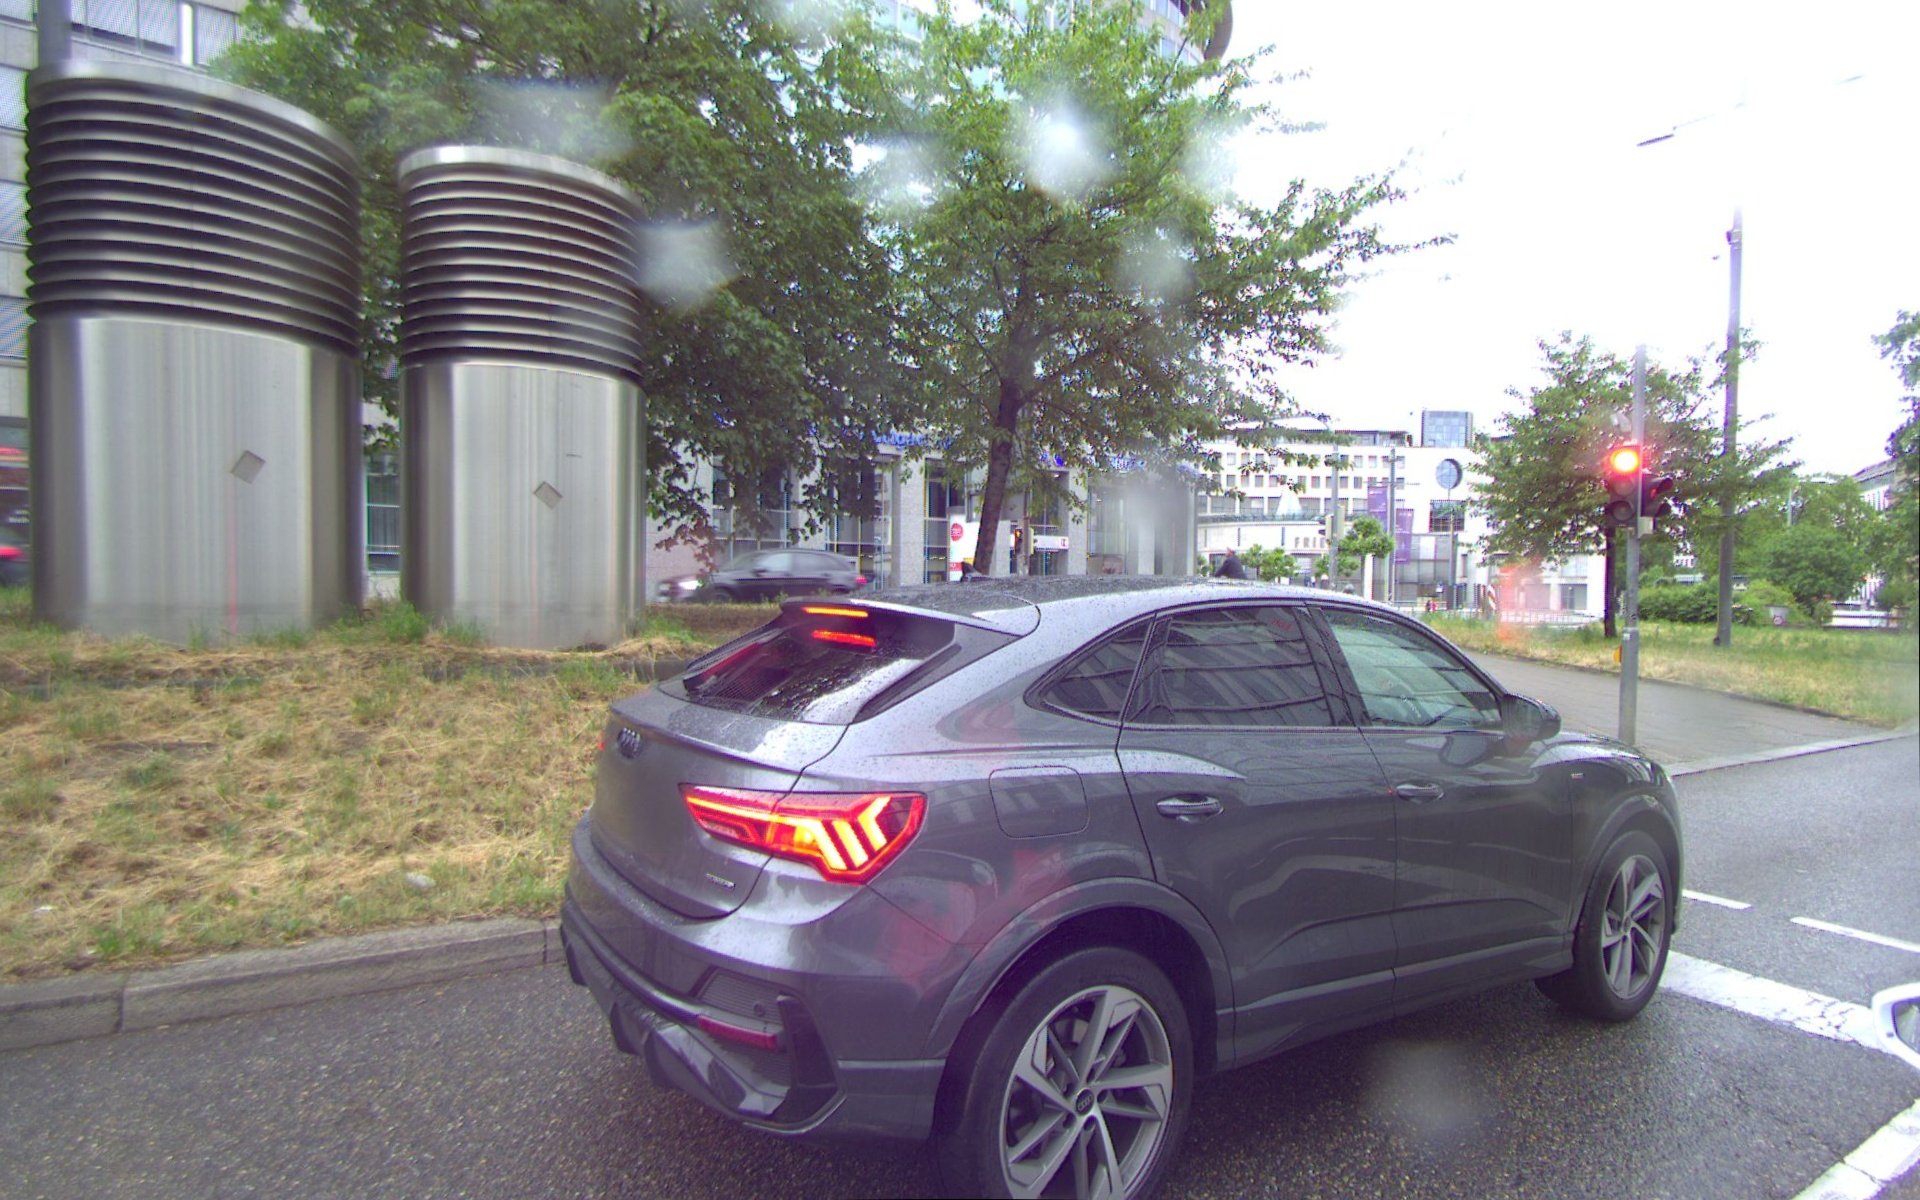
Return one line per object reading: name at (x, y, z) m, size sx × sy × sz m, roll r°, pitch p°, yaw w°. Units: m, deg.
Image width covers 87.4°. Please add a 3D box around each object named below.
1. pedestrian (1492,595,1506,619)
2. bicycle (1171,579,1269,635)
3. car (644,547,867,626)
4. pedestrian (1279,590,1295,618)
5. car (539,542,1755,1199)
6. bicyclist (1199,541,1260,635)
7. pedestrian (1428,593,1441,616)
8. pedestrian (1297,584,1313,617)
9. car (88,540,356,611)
pedestrian at (48.384, 0.630, 90.161) m, size 0.730 × 2.041 × 0.787 m, roll 2°, pitch 2°, yaw -23°
bicycle at (6.097, 0.143, 23.655) m, size 2.103 × 1.161 × 0.758 m, roll 5°, pitch 5°, yaw 44°
car at (-4.320, -0.265, 21.608) m, size 4.347 × 1.506 × 1.789 m, roll 1°, pitch 2°, yaw -40°
pedestrian at (18.374, 0.215, 56.439) m, size 0.718 × 1.536 × 0.689 m, roll -1°, pitch -2°, yaw 34°
car at (0.887, 0.705, 3.634) m, size 4.206 × 1.638 × 1.837 m, roll 0°, pitch 2°, yaw -33°
bicyclist at (6.290, -0.292, 23.457) m, size 1.070 × 2.111 × 0.758 m, roll 5°, pitch 5°, yaw 44°
pedestrian at (43.167, 0.367, 91.408) m, size 0.780 × 2.041 × 0.736 m, roll 4°, pitch 3°, yaw 41°
pedestrian at (19.174, 0.052, 55.785) m, size 0.612 × 1.786 × 0.722 m, roll -1°, pitch -2°, yaw 39°
car at (-15.524, -0.480, 21.374) m, size 4.435 × 1.343 × 1.878 m, roll 1°, pitch 1°, yaw -37°
